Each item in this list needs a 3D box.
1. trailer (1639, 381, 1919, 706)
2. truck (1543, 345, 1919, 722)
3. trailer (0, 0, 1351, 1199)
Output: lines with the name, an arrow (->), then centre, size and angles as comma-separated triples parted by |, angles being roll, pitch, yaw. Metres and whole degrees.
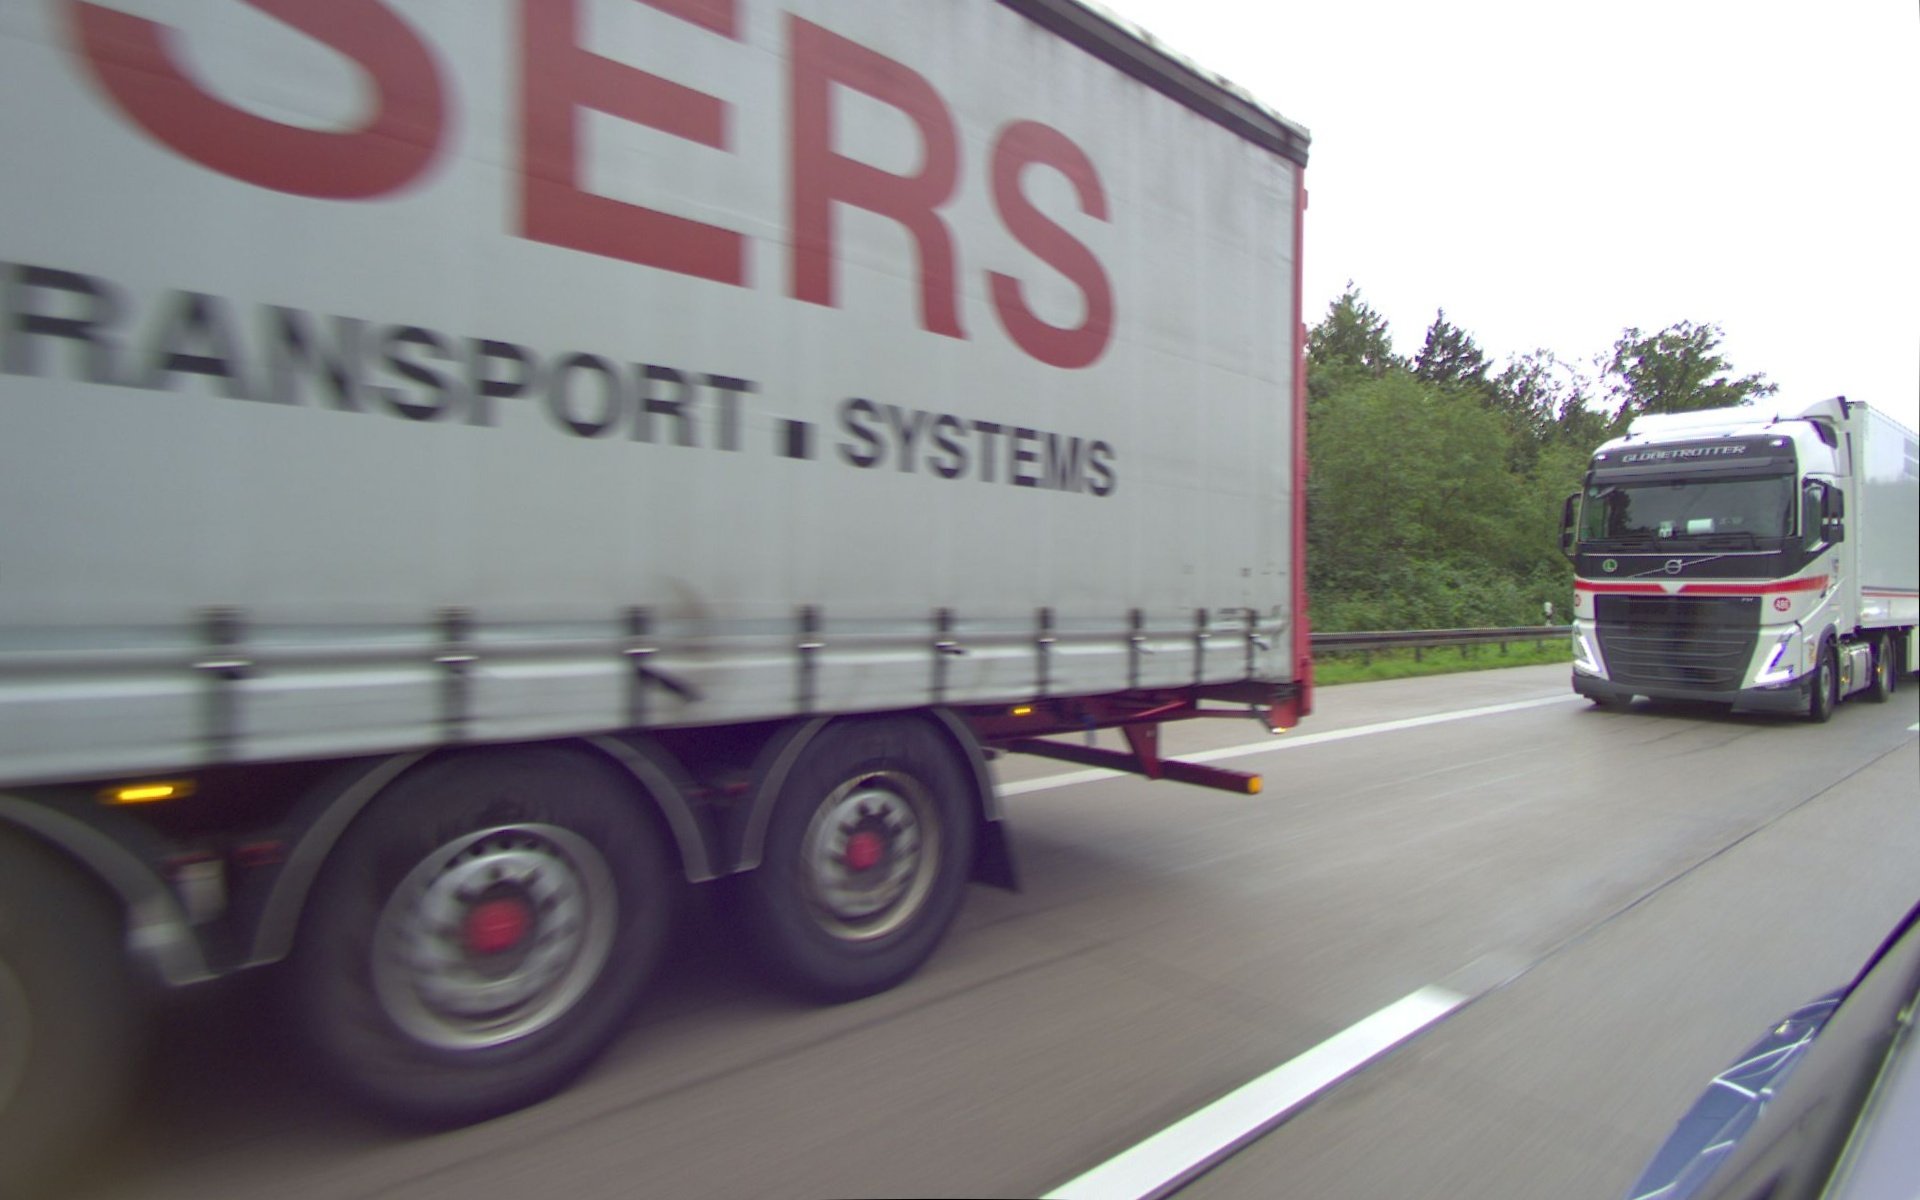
trailer -> 16.239, -0.762, 18.239 | 13.434, 4.156, 2.741 | 0, 0, -39
truck -> 10.879, -0.754, 14.063 | 5.858, 4.156, 2.806 | 0, 0, -38
trailer -> -3.470, -0.620, 2.048 | 12.299, 4.003, 2.375 | 0, 1, -41
